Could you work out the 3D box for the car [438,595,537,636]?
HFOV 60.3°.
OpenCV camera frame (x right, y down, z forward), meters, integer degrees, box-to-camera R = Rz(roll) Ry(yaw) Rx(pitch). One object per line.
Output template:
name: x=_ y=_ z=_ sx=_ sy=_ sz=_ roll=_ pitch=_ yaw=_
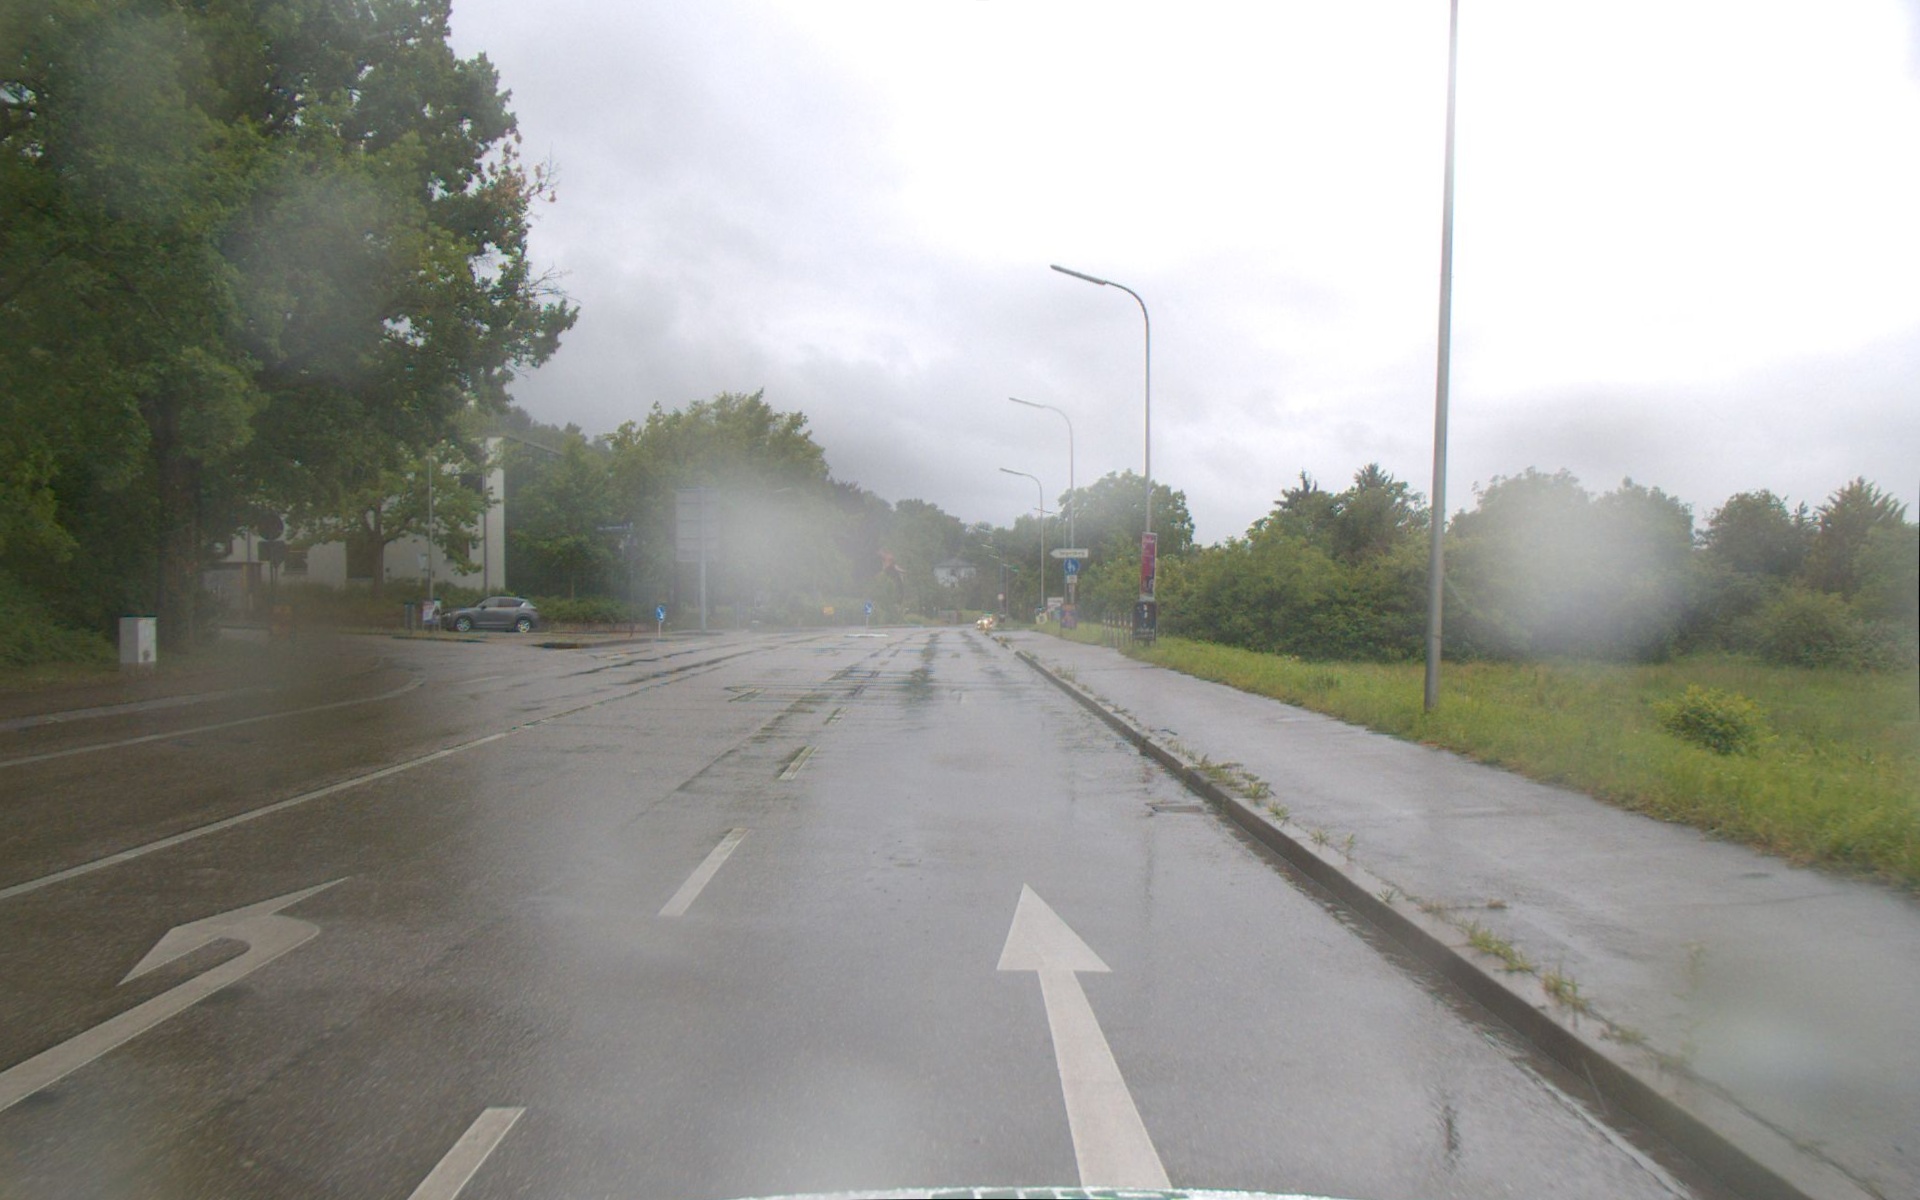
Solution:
car: x=-21.070 y=0.687 z=73.747 sx=3.942 sy=1.793 sz=1.783 roll=1 pitch=0 yaw=-29
